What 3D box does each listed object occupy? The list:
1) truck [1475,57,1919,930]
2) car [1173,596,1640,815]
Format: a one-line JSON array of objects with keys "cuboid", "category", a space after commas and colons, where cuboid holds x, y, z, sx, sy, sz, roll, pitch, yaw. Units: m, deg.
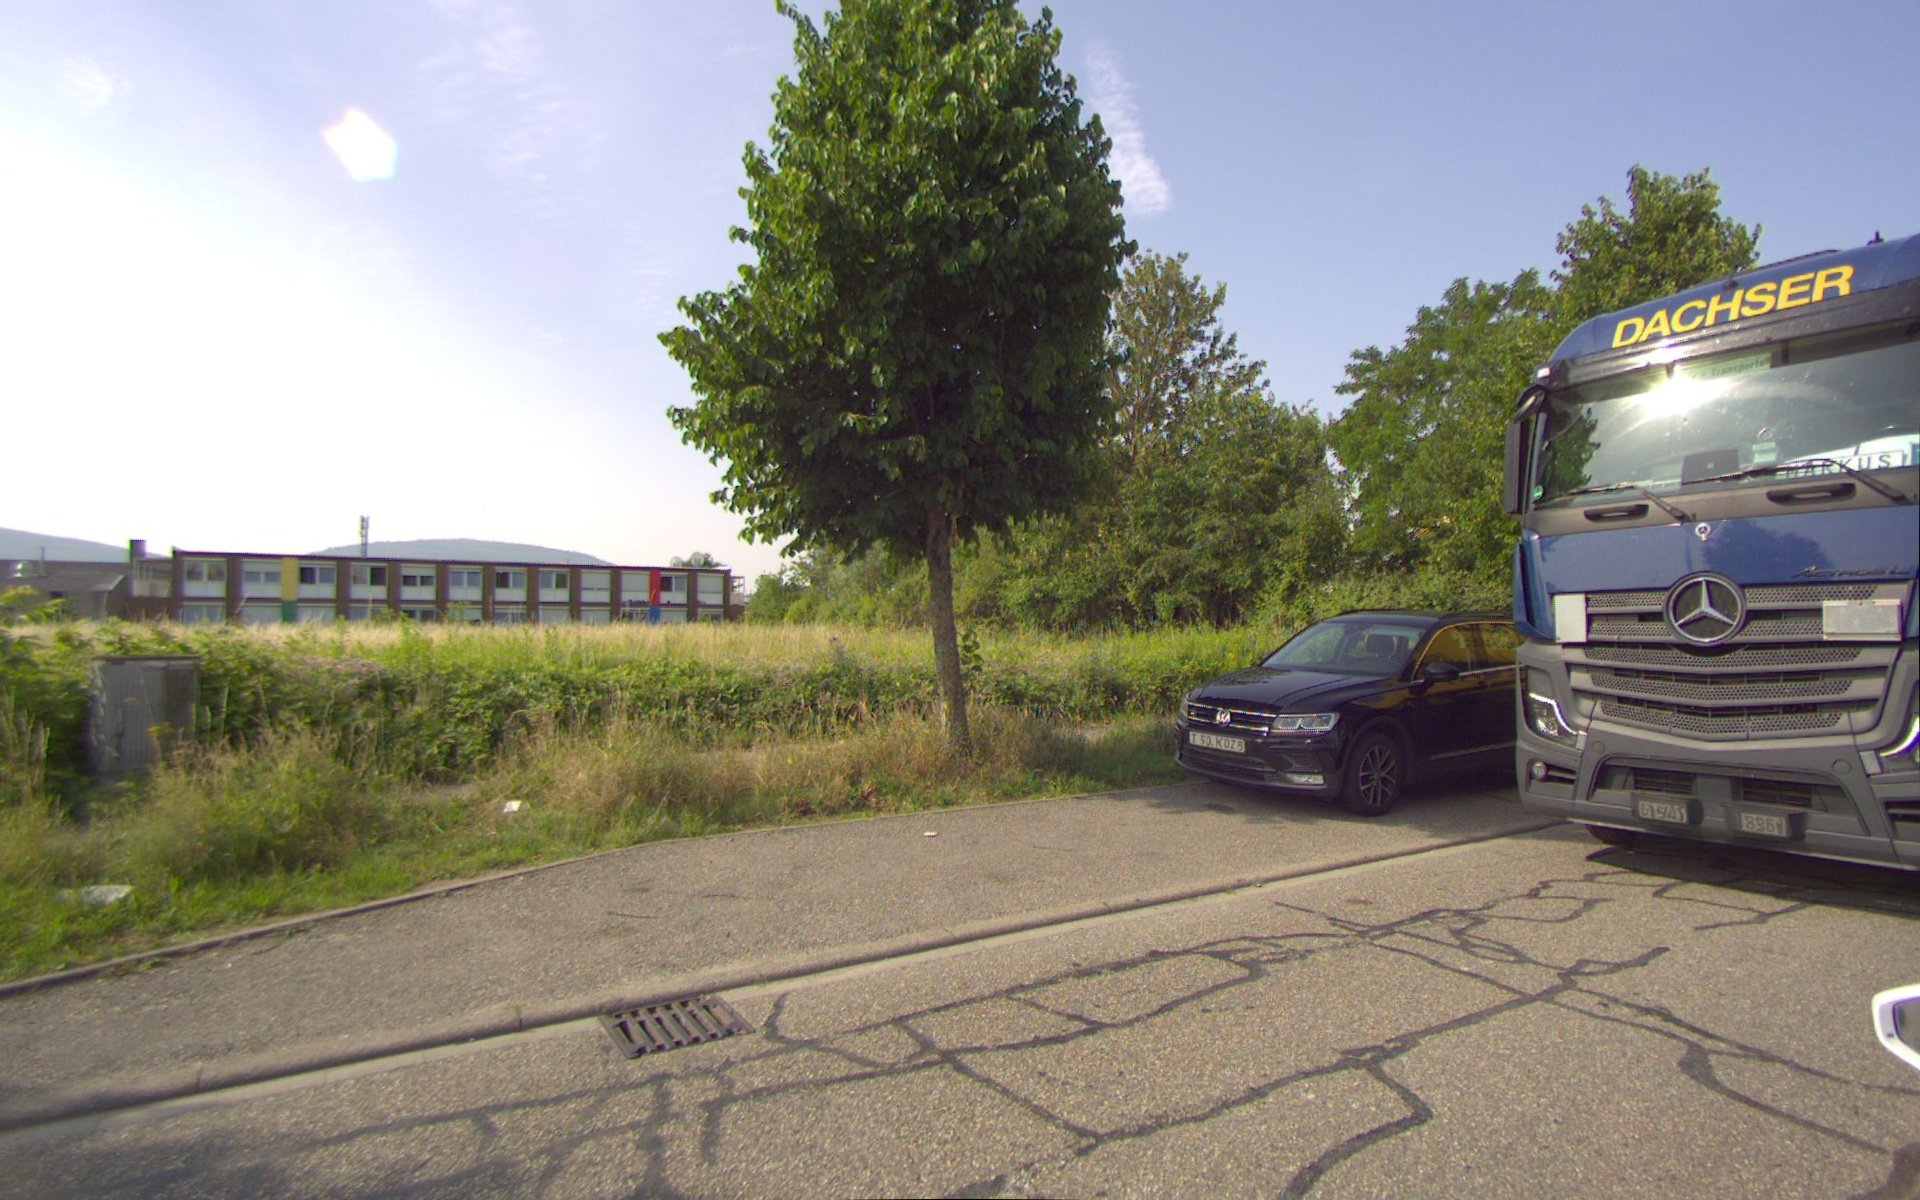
[{"cuboid": [8.463, -0.406, 8.382, 10.264, 4.199, 2.485, 1, -3, -32], "category": "truck"}, {"cuboid": [4.326, 0.826, 9.577, 4.398, 1.648, 1.893, 1, 0, -31], "category": "car"}]
